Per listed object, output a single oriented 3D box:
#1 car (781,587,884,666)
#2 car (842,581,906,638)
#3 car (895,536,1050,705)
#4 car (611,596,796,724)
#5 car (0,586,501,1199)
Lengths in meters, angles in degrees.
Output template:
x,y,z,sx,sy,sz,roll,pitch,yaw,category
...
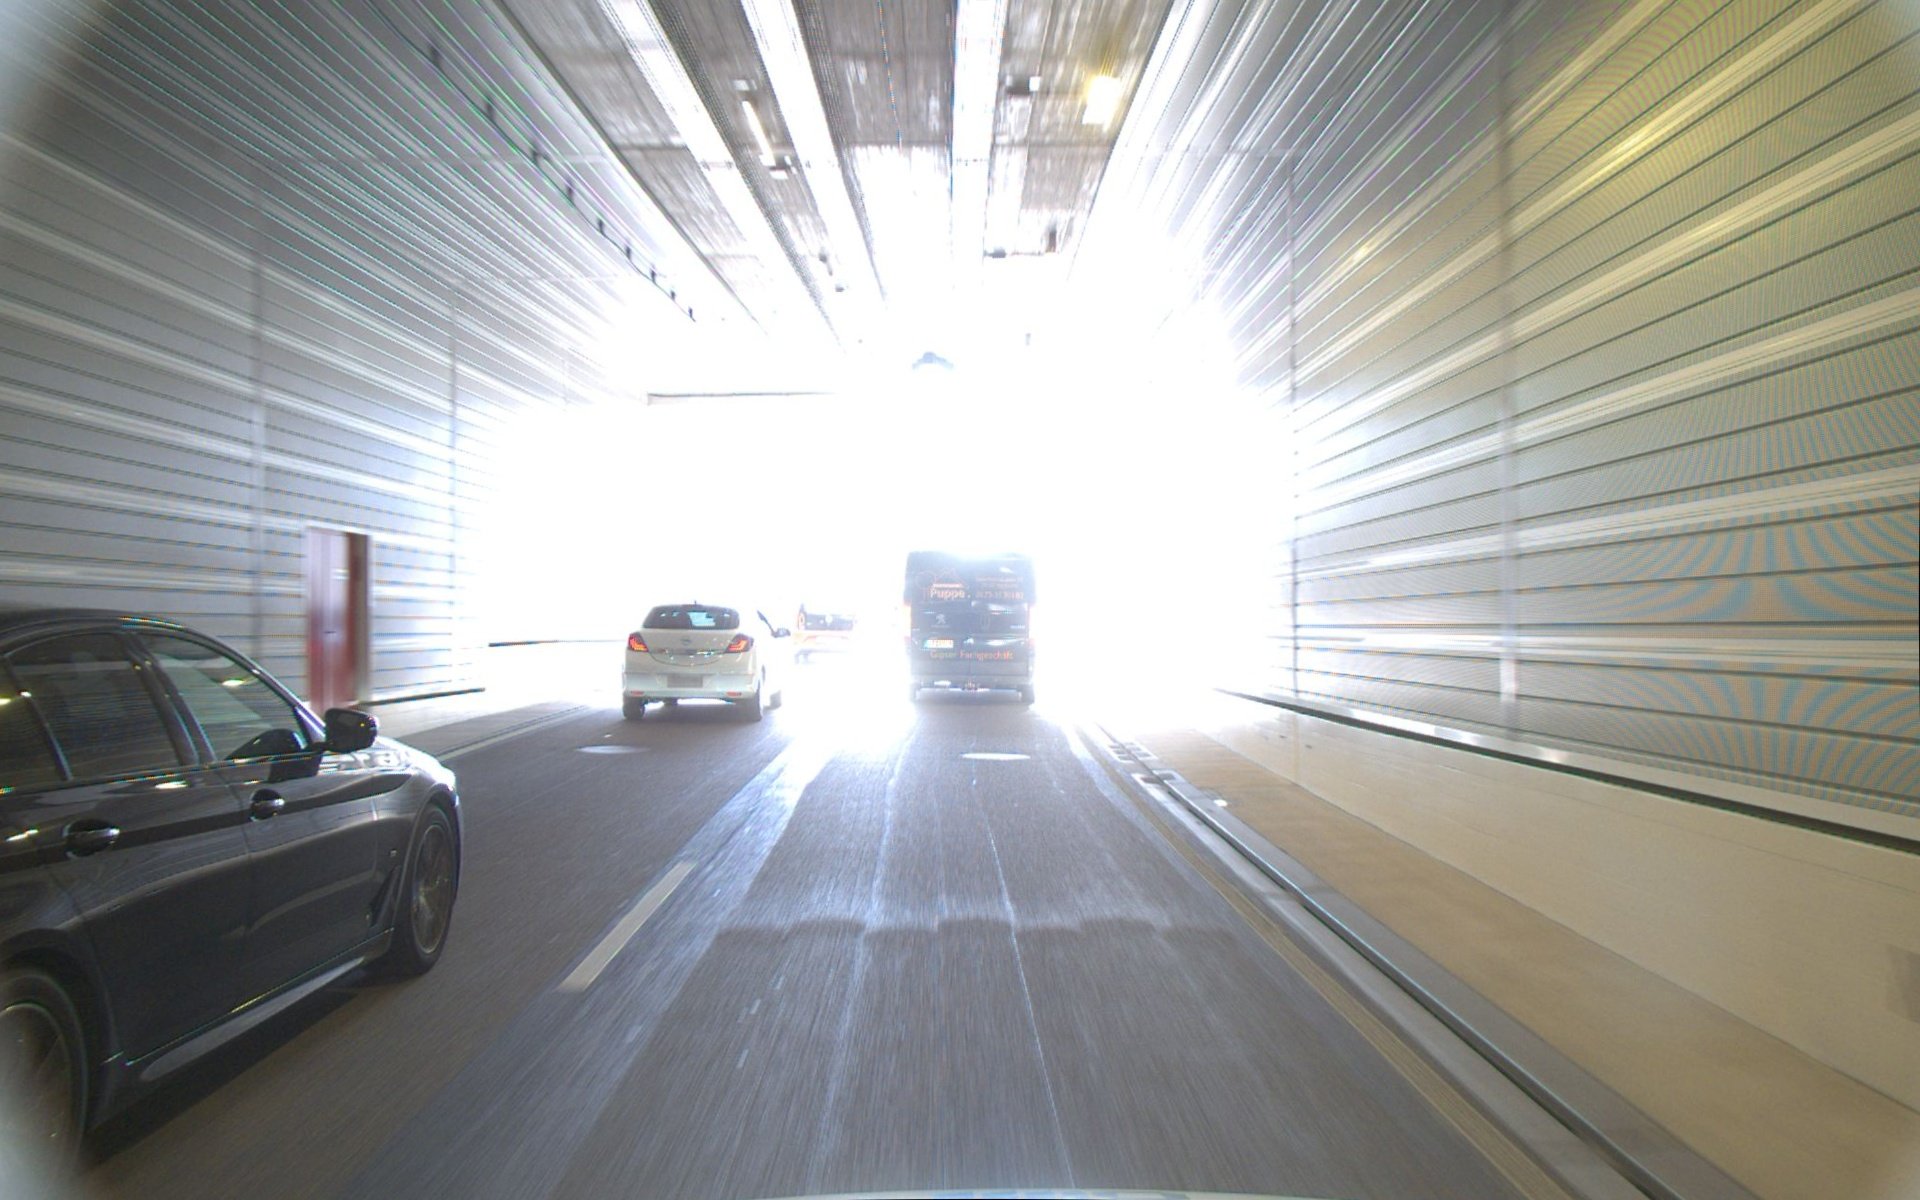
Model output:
x,y,z,sx,sy,sz,roll,pitch,yaw,category
-2.660,0.535,35.426,1.777,1.538,4.221,2,0,1,car
-2.594,0.334,50.389,1.839,1.609,4.218,2,-1,-2,car
0.187,0.287,25.366,2.114,2.305,4.636,1,0,0,car
-3.140,0.689,20.966,1.674,1.438,3.974,1,0,0,car
-2.851,0.695,4.738,1.661,1.447,4.851,2,0,0,car
